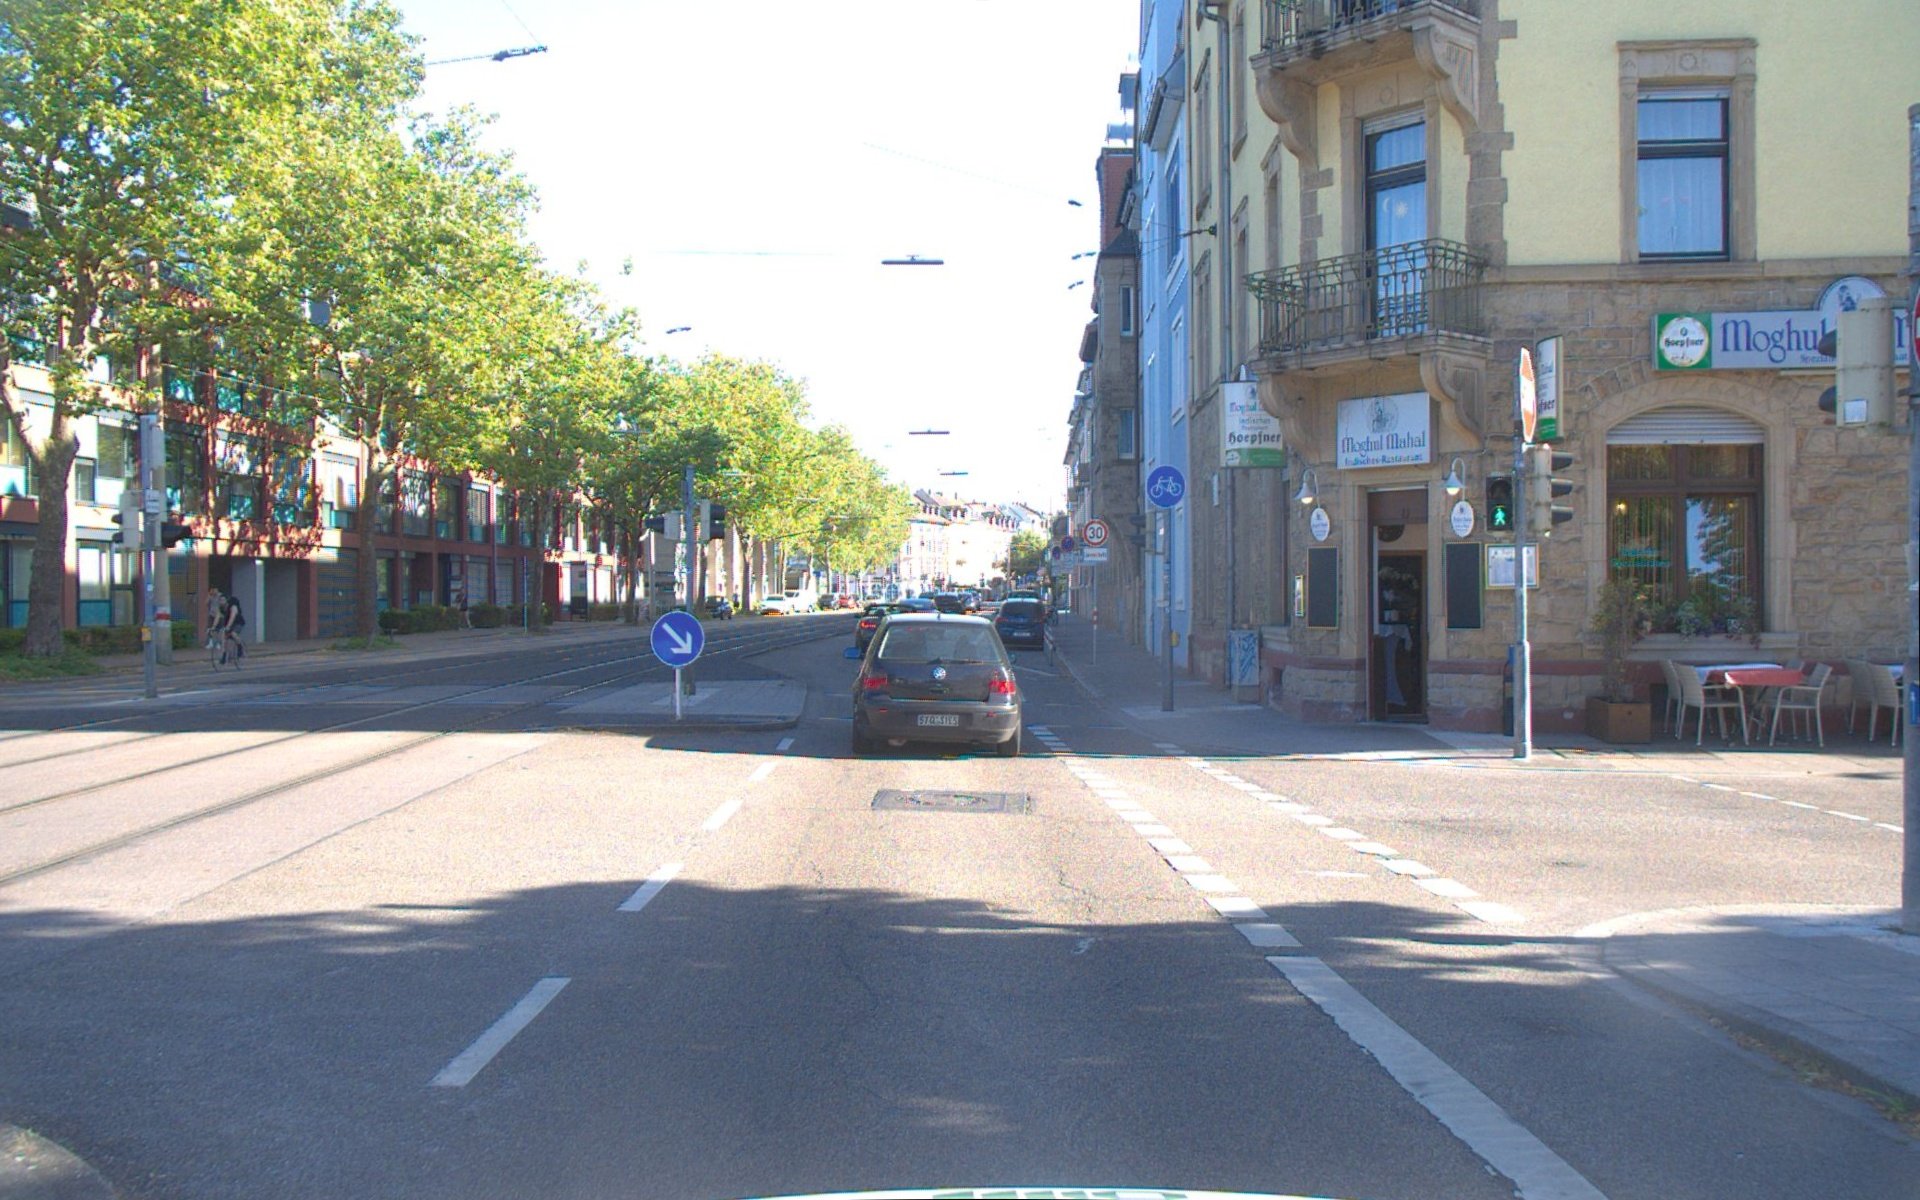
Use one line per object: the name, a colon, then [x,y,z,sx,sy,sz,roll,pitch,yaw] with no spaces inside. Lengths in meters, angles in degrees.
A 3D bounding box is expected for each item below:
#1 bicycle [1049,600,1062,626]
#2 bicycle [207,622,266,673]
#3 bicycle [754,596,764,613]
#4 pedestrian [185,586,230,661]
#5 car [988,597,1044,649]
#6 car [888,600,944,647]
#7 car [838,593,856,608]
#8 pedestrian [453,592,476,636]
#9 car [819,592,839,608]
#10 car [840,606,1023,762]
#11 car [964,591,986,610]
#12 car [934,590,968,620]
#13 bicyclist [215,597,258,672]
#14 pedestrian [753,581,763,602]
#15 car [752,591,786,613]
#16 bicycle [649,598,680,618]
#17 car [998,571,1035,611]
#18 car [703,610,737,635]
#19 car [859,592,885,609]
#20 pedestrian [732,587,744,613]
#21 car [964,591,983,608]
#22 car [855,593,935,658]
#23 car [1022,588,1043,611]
bicycle: [4.527,0.608,78.673,0.504,1.159,2.259,-2,1,2]
bicycle: [-16.264,1.051,37.214,0.632,1.061,1.923,1,1,-6]
bicycle: [-14.991,0.343,123.389,0.569,1.230,1.653,1,1,-4]
pedestrian: [-20.793,0.639,45.739,0.893,2.049,0.780,1,0,-7]
car: [1.700,0.667,50.167,1.621,1.508,4.001,0,0,2]
car: [-1.554,0.815,59.787,1.712,1.564,3.893,-1,1,3]
car: [-12.294,0.085,180.082,1.537,1.560,3.573,0,-1,2]
pedestrian: [-20.093,0.564,67.018,0.612,1.748,0.901,1,0,1]
car: [-12.906,0.003,163.521,1.537,1.560,3.573,0,-1,2]
car: [-0.239,0.801,17.633,1.712,1.399,4.001,-1,1,1]
car: [1.186,0.034,131.235,1.602,1.498,3.730,-1,0,2]
car: [-0.455,0.262,85.168,1.602,1.498,3.730,0,0,2]
bicyclist: [-16.256,0.763,37.174,0.632,1.639,0.780,1,0,-6]
pedestrian: [-18.327,-0.780,150.188,0.780,1.852,0.670,1,0,2]
car: [-14.857,0.142,128.956,1.970,1.600,4.694,1,1,1]
bicycle: [-19.868,0.545,111.303,1.966,1.301,0.664,1,0,2]
car: [2.786,-0.444,81.197,1.716,1.888,4.817,0,0,2]
car: [-15.210,1.442,104.757,1.476,1.479,3.464,-1,-2,3]
car: [-8.649,0.044,162.436,1.715,1.544,4.074,-2,0,8]
pedestrian: [-16.289,0.021,121.434,0.771,1.902,0.669,1,0,-13]
car: [1.225,-0.038,147.371,1.602,1.498,3.730,0,0,2]
car: [-1.639,0.619,42.770,1.712,1.564,3.893,-1,1,3]
car: [6.317,-0.055,144.616,1.722,1.870,3.549,1,1,2]
